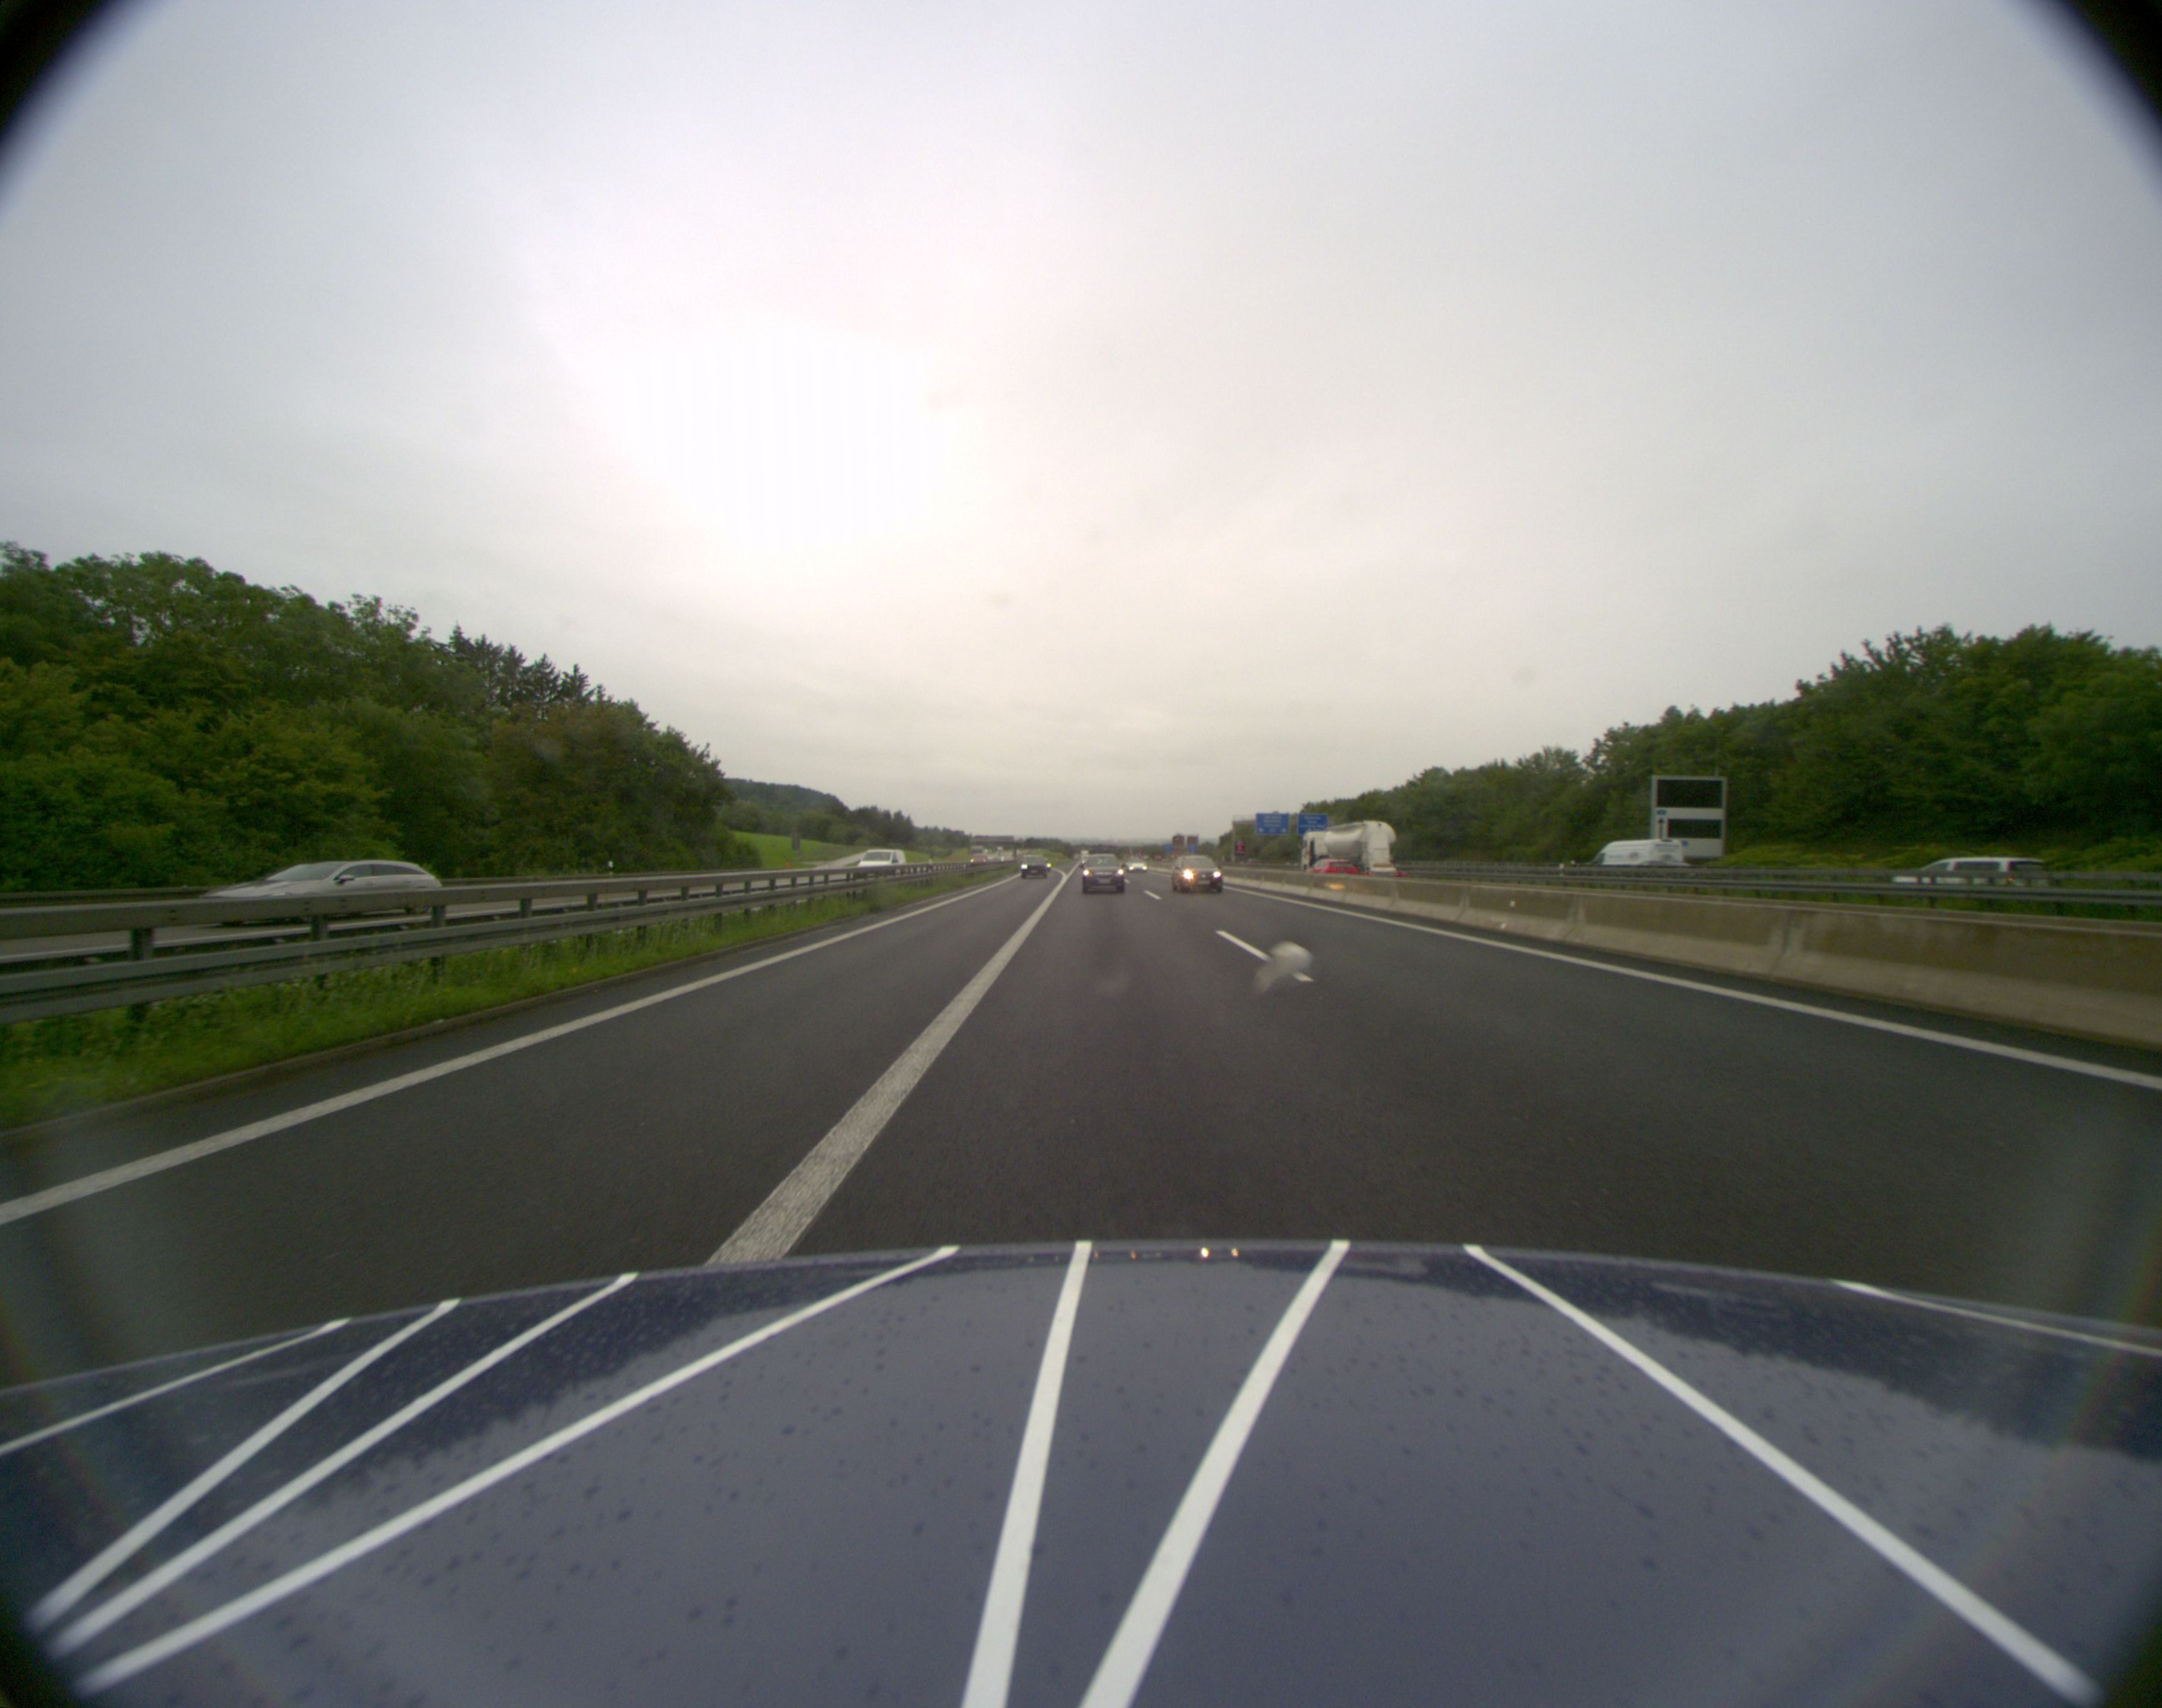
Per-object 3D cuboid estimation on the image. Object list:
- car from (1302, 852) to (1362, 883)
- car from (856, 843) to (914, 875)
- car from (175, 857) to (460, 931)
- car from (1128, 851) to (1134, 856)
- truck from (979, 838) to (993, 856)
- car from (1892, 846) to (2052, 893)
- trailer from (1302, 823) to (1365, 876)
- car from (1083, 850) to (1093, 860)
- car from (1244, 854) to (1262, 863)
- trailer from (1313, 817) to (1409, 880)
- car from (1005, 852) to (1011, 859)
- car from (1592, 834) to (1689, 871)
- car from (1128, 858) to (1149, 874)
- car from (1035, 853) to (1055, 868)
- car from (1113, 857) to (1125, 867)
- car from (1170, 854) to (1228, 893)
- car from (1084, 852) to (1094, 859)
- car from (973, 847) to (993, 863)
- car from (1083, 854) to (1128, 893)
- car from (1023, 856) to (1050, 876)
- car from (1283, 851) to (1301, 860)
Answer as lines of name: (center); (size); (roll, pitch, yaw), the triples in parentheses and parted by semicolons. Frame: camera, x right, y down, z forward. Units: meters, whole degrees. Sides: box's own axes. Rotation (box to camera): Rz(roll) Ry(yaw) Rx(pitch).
car: (13.570, 0.684, 41.301); (1.813, 1.571, 4.355); (-1, 1, 0)
car: (-11.075, 0.239, 43.182); (1.913, 1.684, 4.719); (-1, 1, 2)
car: (-17.686, 0.829, 18.044); (1.903, 1.446, 4.710); (-1, 1, 2)
car: (17.531, -0.186, 265.763); (1.998, 2.002, 4.982); (-1, 1, 0)
truck: (-21.737, -1.561, 174.583); (2.800, 3.878, 10.022); (-1, 1, -5)
car: (35.636, 0.560, 30.565); (1.708, 1.759, 3.999); (-1, 1, -2)
trailer: (18.509, -0.345, 56.169); (2.643, 3.694, 6.491); (-1, 1, 1)
car: (1.450, 0.184, 162.334); (2.016, 1.994, 4.566); (-1, 1, -1)
car: (29.700, 0.705, 131.165); (1.823, 1.448, 4.567); (-1, 1, -2)
trailer: (18.374, -0.374, 50.801); (2.643, 3.714, 10.811); (-1, 1, 1)
car: (-22.321, 0.406, 233.435); (1.753, 2.002, 4.495); (-1, 1, -6)
car: (32.605, -0.119, 44.520); (1.878, 2.002, 5.298); (-1, 1, 1)
car: (5.669, 1.132, 75.102); (1.726, 1.481, 4.566); (-1, 1, 0)
car: (-3.908, 0.684, 82.478); (1.885, 1.519, 4.000); (-1, 1, 1)
car: (6.548, 1.341, 129.892); (1.726, 1.481, 4.566); (-1, 1, -1)
car: (4.933, 0.765, 32.264); (1.726, 1.481, 4.566); (-1, 1, 0)
car: (1.664, 0.300, 156.065); (1.919, 1.481, 4.566); (-1, 1, -1)
car: (-12.755, 0.160, 99.040); (2.130, 2.002, 5.075); (-1, 1, -2)
car: (1.017, 0.798, 33.024); (1.813, 1.571, 3.834); (-1, 1, 0)
car: (-3.389, 0.896, 58.514); (1.867, 1.349, 4.566); (-1, 1, 0)
car: (36.967, 0.218, 133.131); (1.823, 1.448, 4.776); (-1, 1, -1)
